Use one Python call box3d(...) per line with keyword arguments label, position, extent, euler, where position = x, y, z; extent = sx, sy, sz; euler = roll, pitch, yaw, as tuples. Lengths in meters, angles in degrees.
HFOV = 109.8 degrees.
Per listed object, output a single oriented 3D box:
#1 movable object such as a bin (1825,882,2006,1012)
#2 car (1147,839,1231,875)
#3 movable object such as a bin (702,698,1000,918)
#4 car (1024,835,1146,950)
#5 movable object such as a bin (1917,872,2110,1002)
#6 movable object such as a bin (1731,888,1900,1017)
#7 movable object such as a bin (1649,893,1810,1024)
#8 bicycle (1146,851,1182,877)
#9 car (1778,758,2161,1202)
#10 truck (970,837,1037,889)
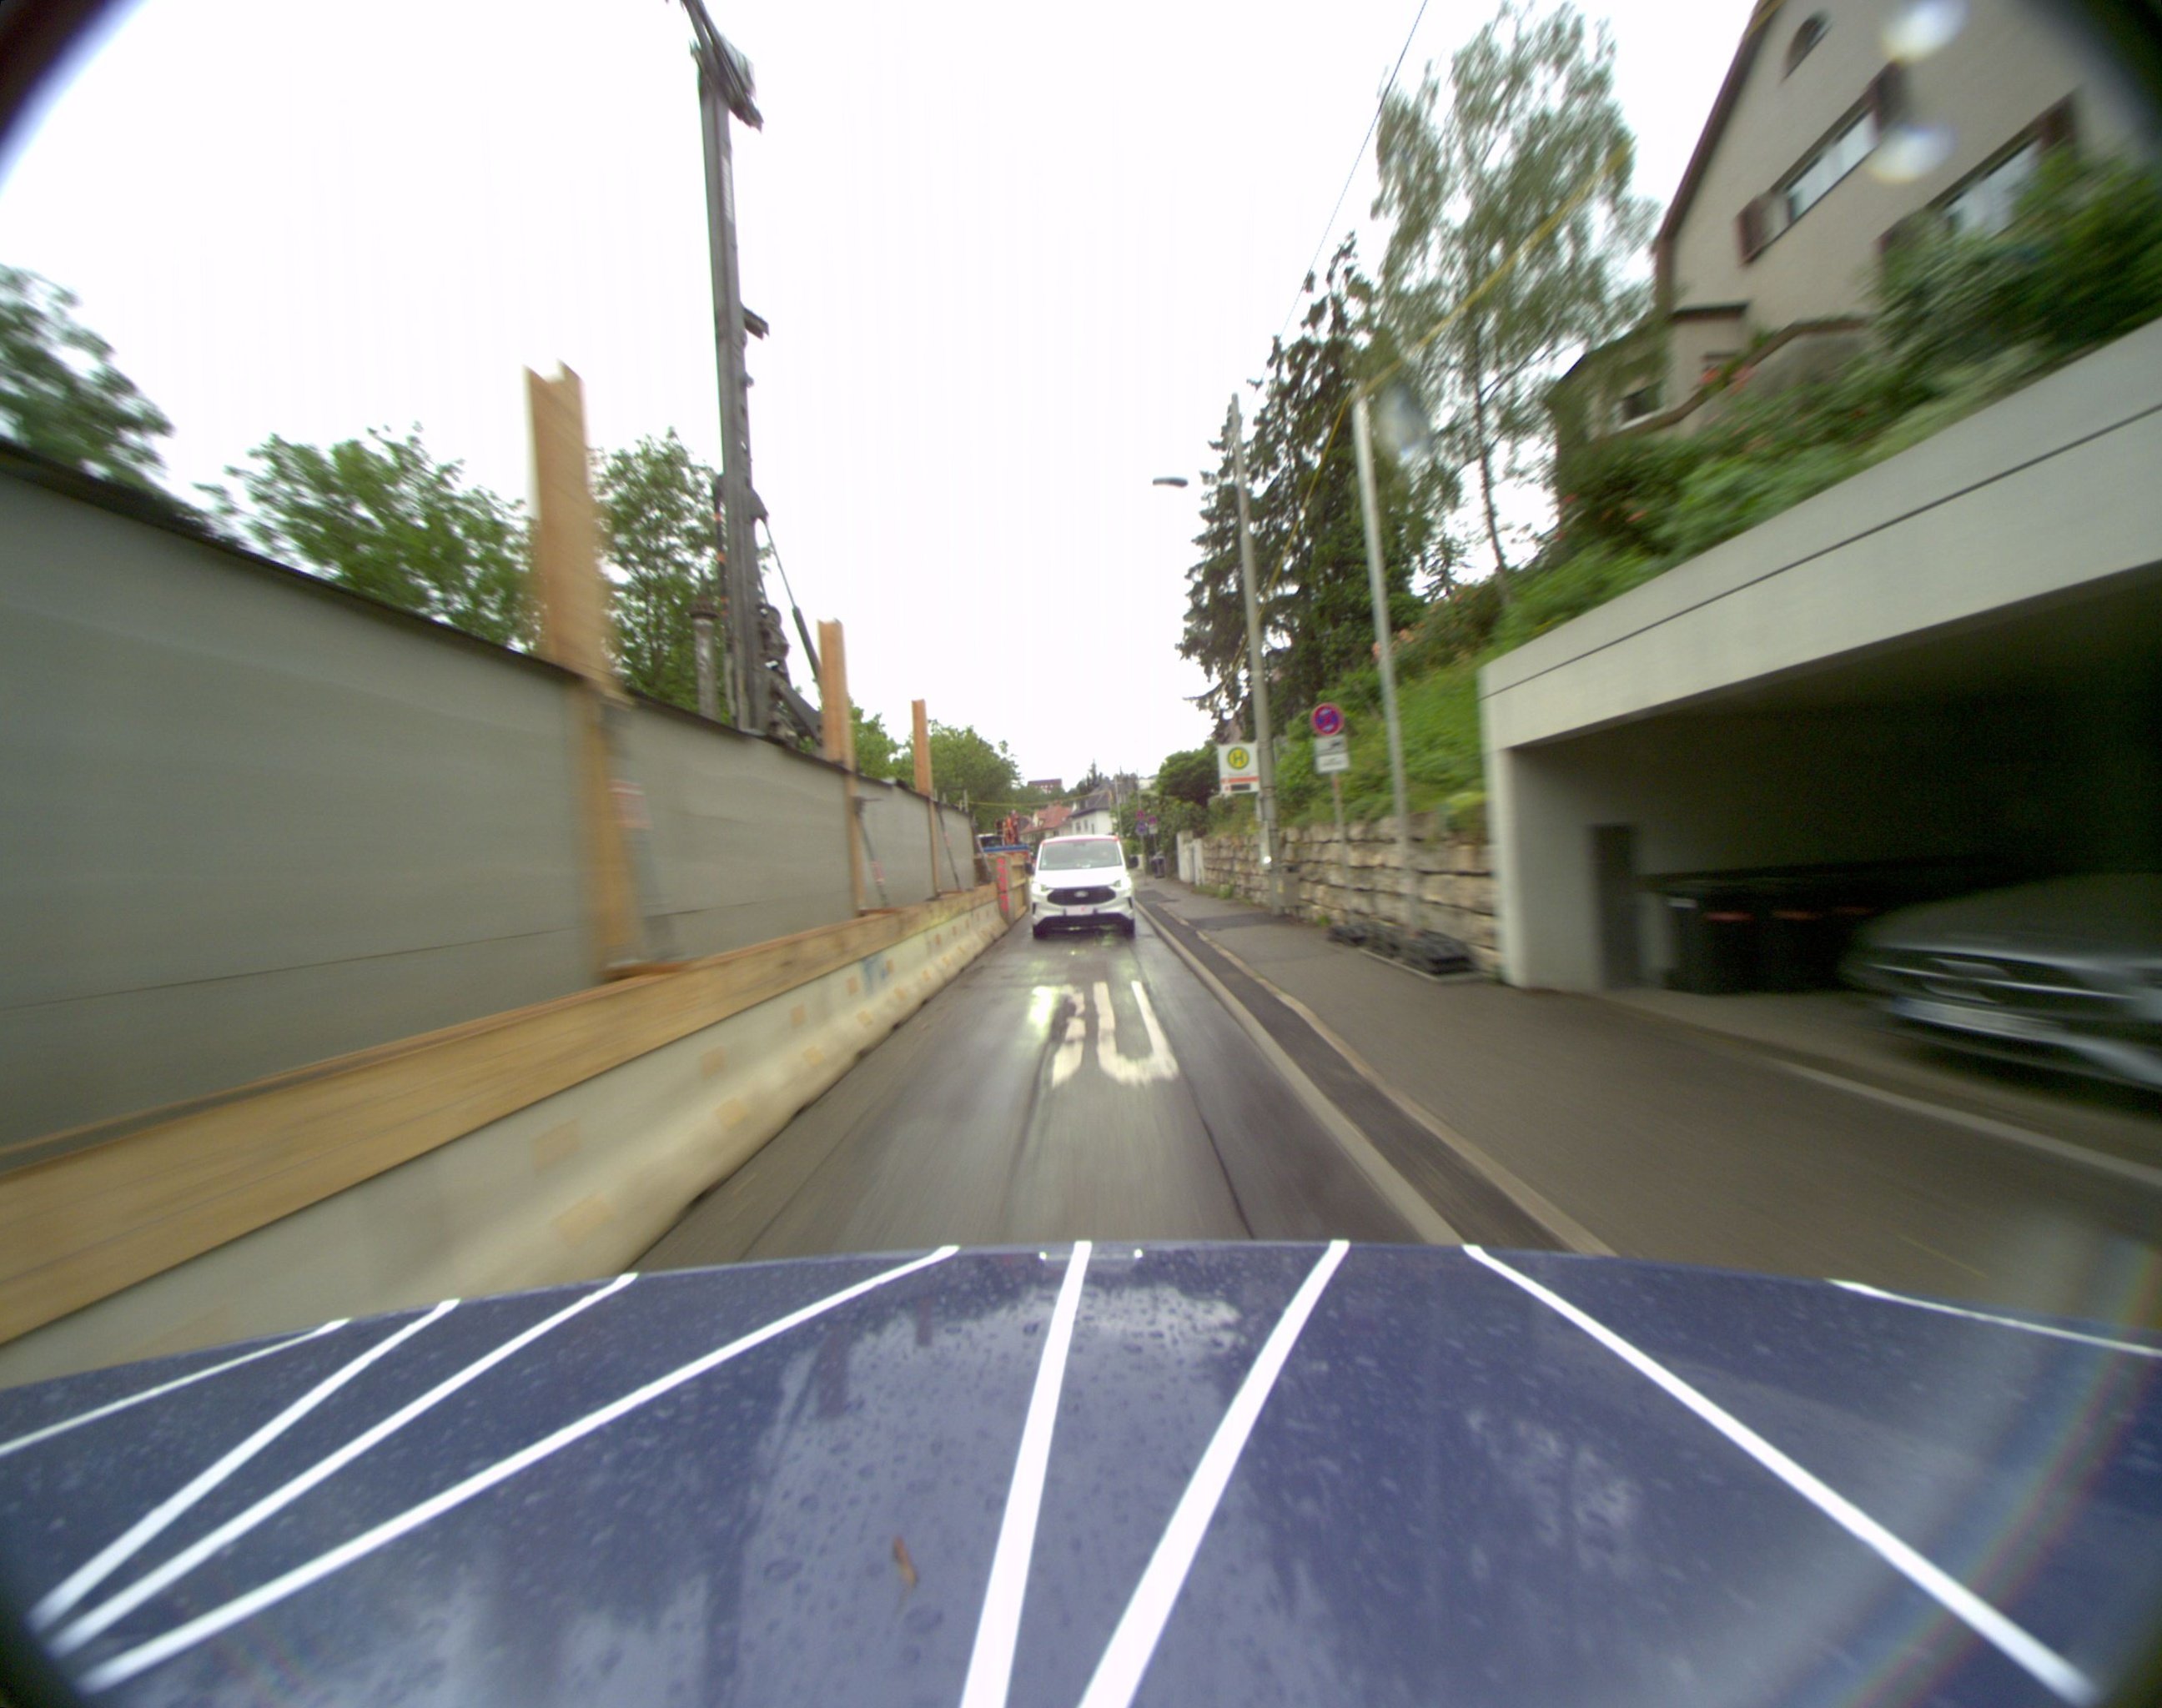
box3d(label="movable object such as a bin", position=(6.685, 0.725, 6.120), extent=(0.685, 0.898, 0.657), euler=(-5, 2, 1))
box3d(label="car", position=(5.544, 0.188, 39.419), extent=(1.789, 1.517, 3.990), euler=(-7, 1, -42))
box3d(label="movable object such as a bin", position=(-6.034, -1.130, 21.445), extent=(3.685, 5.037, 7.173), euler=(-3, 2, 29))
box3d(label="car", position=(-0.040, 0.657, 16.330), extent=(2.046, 1.883, 5.207), euler=(-5, 1, -2))
box3d(label="movable object such as a bin", position=(7.416, 0.635, 6.073), extent=(0.685, 0.898, 0.657), euler=(-5, 2, 1))
box3d(label="movable object such as a bin", position=(5.932, 0.774, 6.175), extent=(0.685, 0.898, 0.657), euler=(-5, 2, 1))
box3d(label="movable object such as a bin", position=(5.207, 0.817, 6.141), extent=(0.685, 0.898, 0.657), euler=(-5, 2, 1))
box3d(label="bicycle", position=(4.140, 0.513, 37.911), extent=(1.621, 1.124, 0.443), euler=(-5, 2, 14))
box3d(label="car", position=(6.367, 0.309, 3.427), extent=(4.412, 1.696, 2.110), euler=(-5, 1, 0))
box3d(label="truck", position=(-3.431, 0.349, 34.490), extent=(2.557, 2.096, 3.303), euler=(-3, 1, 0))
